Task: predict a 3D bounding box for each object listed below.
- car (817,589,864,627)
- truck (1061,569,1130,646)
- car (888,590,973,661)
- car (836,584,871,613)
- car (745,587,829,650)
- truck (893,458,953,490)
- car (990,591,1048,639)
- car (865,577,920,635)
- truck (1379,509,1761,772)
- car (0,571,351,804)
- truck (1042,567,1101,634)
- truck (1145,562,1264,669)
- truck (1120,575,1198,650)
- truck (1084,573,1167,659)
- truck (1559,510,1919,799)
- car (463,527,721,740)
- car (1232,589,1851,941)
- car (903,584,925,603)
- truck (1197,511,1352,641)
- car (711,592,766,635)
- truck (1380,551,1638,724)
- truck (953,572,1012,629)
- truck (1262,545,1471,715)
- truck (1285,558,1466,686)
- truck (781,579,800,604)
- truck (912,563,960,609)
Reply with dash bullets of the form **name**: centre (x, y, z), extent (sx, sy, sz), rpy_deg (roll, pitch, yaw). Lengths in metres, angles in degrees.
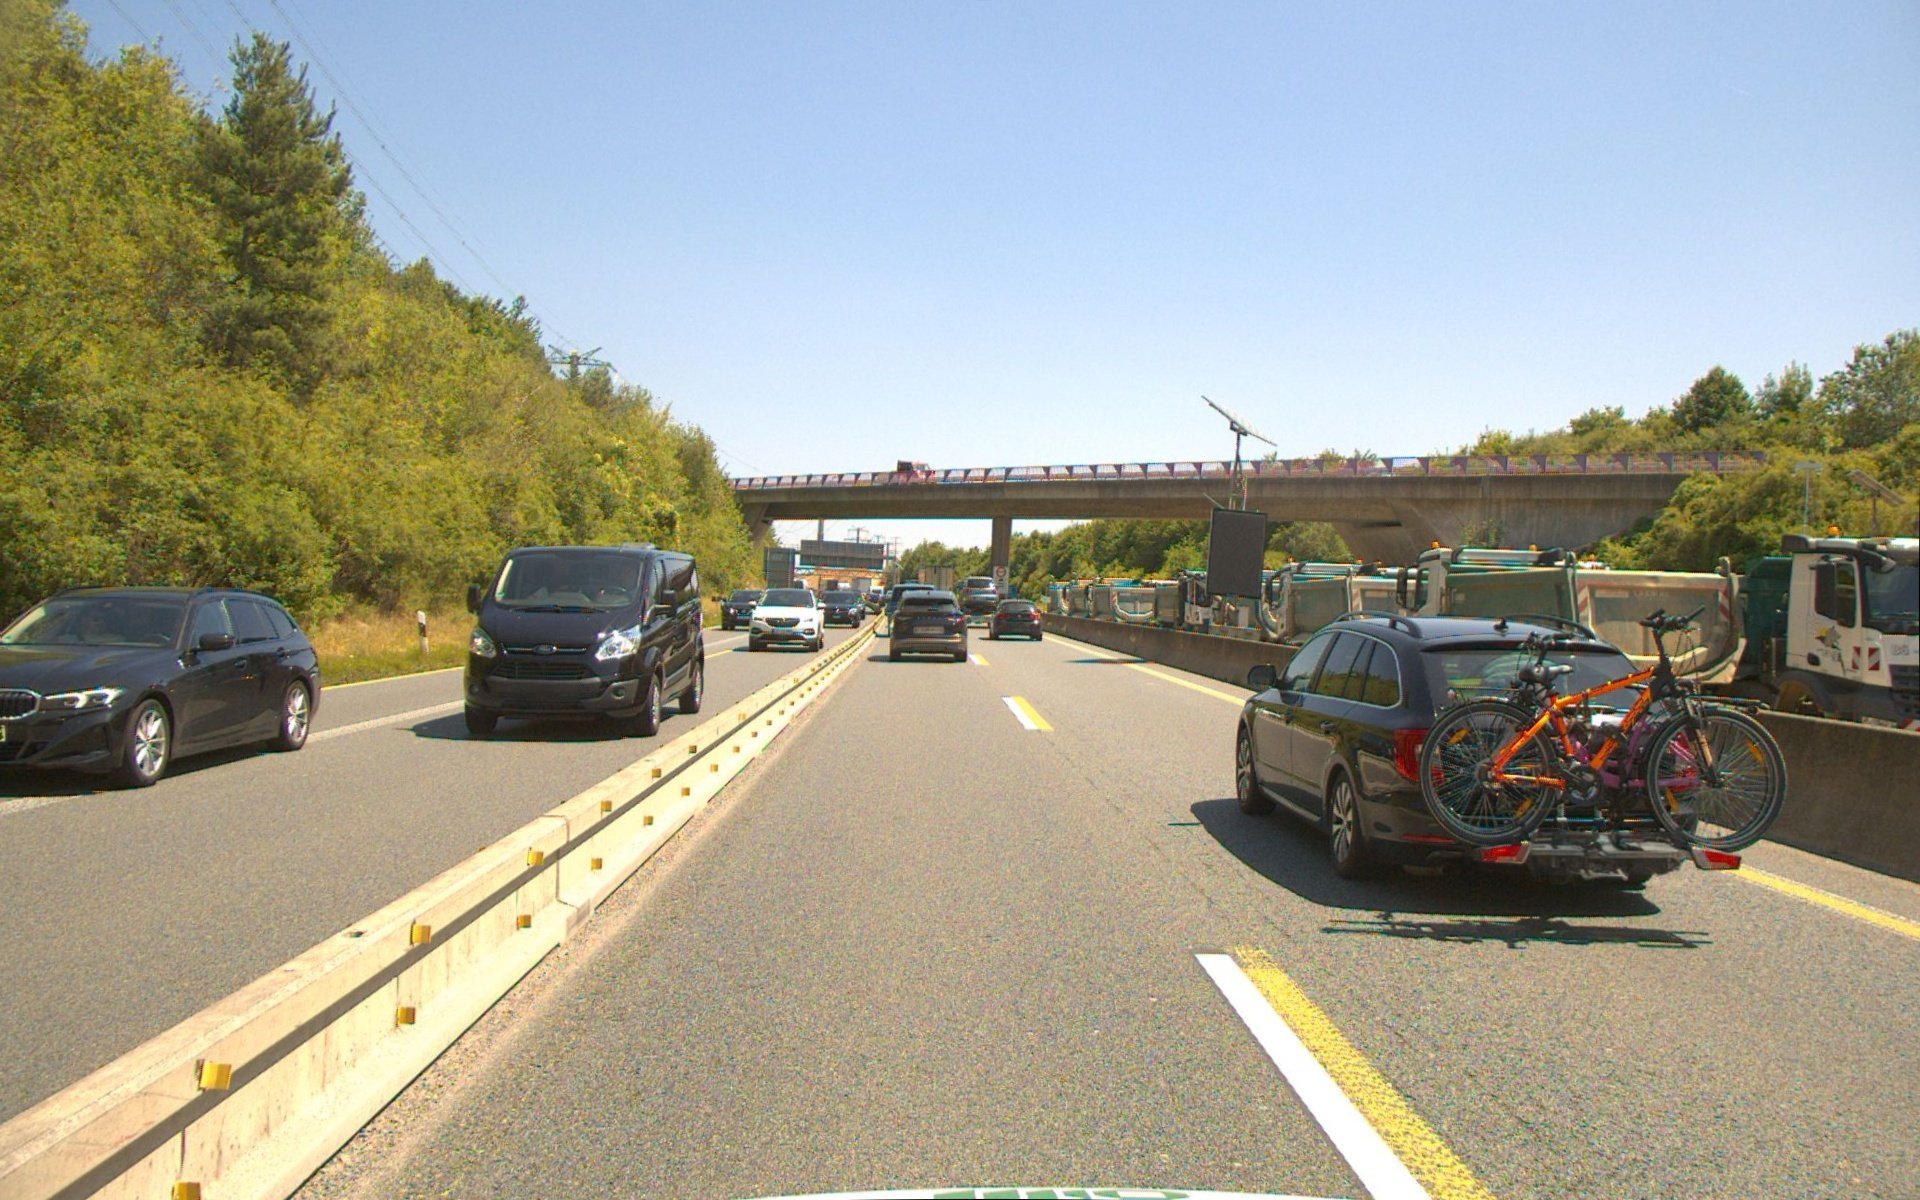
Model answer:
- **car**: centre (-5.339, 0.338, 74.494), extent (1.806, 1.560, 4.670), rpy_deg (2, 0, -1)
- **truck**: centre (7.354, 0.373, 90.692), extent (2.633, 3.923, 9.321), rpy_deg (1, 0, -2)
- **car**: centre (-0.690, 0.570, 39.155), extent (1.860, 1.531, 4.275), rpy_deg (1, 0, -1)
- **car**: centre (-6.393, -0.088, 99.800), extent (1.806, 1.638, 4.698), rpy_deg (2, 0, -1)
- **car**: centre (-4.565, 0.461, 44.229), extent (1.806, 1.560, 4.670), rpy_deg (2, 0, -1)
- **truck**: centre (-2.931, -9.848, 130.008), extent (1.916, 2.102, 5.442), rpy_deg (2, 0, -37)
- **car**: centre (2.072, 0.509, 59.216), extent (1.860, 1.613, 4.275), rpy_deg (1, 0, -1)
- **car**: centre (-2.425, 0.223, 60.329), extent (1.860, 2.003, 4.275), rpy_deg (1, 0, -1)
- **truck**: centre (9.732, 0.550, 27.867), extent (2.633, 3.619, 9.600), rpy_deg (1, 0, -1)
- **car**: centre (-6.645, 0.570, 13.411), extent (1.757, 1.552, 4.530), rpy_deg (2, 0, -1)
- **truck**: centre (6.857, 0.013, 103.151), extent (2.633, 3.910, 9.321), rpy_deg (1, 0, -2)
- **truck**: centre (8.903, 0.521, 61.317), extent (2.633, 3.619, 9.321), rpy_deg (1, 0, -2)
- **truck**: centre (10.579, 0.619, 88.768), extent (2.633, 3.792, 9.321), rpy_deg (1, 0, -2)
- **truck**: centre (7.811, 0.717, 79.190), extent (2.633, 3.826, 9.321), rpy_deg (1, 0, -2)
- **truck**: centre (12.494, 0.687, 25.655), extent (2.633, 3.619, 9.599), rpy_deg (1, 0, -2)
- **car**: centre (-3.976, 0.318, 18.717), extent (1.852, 2.049, 4.817), rpy_deg (2, 0, -1)
- **car**: centre (2.993, 0.743, 9.812), extent (1.860, 1.516, 4.946), rpy_deg (1, 0, -1)
- **car**: centre (-5.089, -0.732, 181.556), extent (1.864, 2.003, 4.268), rpy_deg (1, 0, -9)
- **truck**: centre (9.606, -0.688, 51.613), extent (2.633, 3.619, 9.321), rpy_deg (1, 0, -2)
- **car**: centre (-8.718, 0.526, 65.276), extent (1.665, 1.592, 3.994), rpy_deg (2, 0, -1)
- **truck**: centre (12.329, 0.737, 38.256), extent (2.632, 3.437, 9.601), rpy_deg (1, 0, -1)
- **truck**: centre (1.031, -0.019, 80.466), extent (2.357, 2.603, 7.496), rpy_deg (1, 0, -2)
- **truck**: centre (9.647, 0.631, 40.444), extent (2.632, 3.619, 9.404), rpy_deg (1, 0, -1)
- **truck**: centre (12.310, 0.596, 50.019), extent (2.633, 3.437, 9.598), rpy_deg (1, 0, -3)
- **truck**: centre (-23.318, -1.144, 227.691), extent (2.460, 3.242, 10.096), rpy_deg (1, 0, -6)
- **truck**: centre (-2.170, -1.207, 146.739), extent (3.229, 3.912, 10.096), rpy_deg (1, 0, -6)
